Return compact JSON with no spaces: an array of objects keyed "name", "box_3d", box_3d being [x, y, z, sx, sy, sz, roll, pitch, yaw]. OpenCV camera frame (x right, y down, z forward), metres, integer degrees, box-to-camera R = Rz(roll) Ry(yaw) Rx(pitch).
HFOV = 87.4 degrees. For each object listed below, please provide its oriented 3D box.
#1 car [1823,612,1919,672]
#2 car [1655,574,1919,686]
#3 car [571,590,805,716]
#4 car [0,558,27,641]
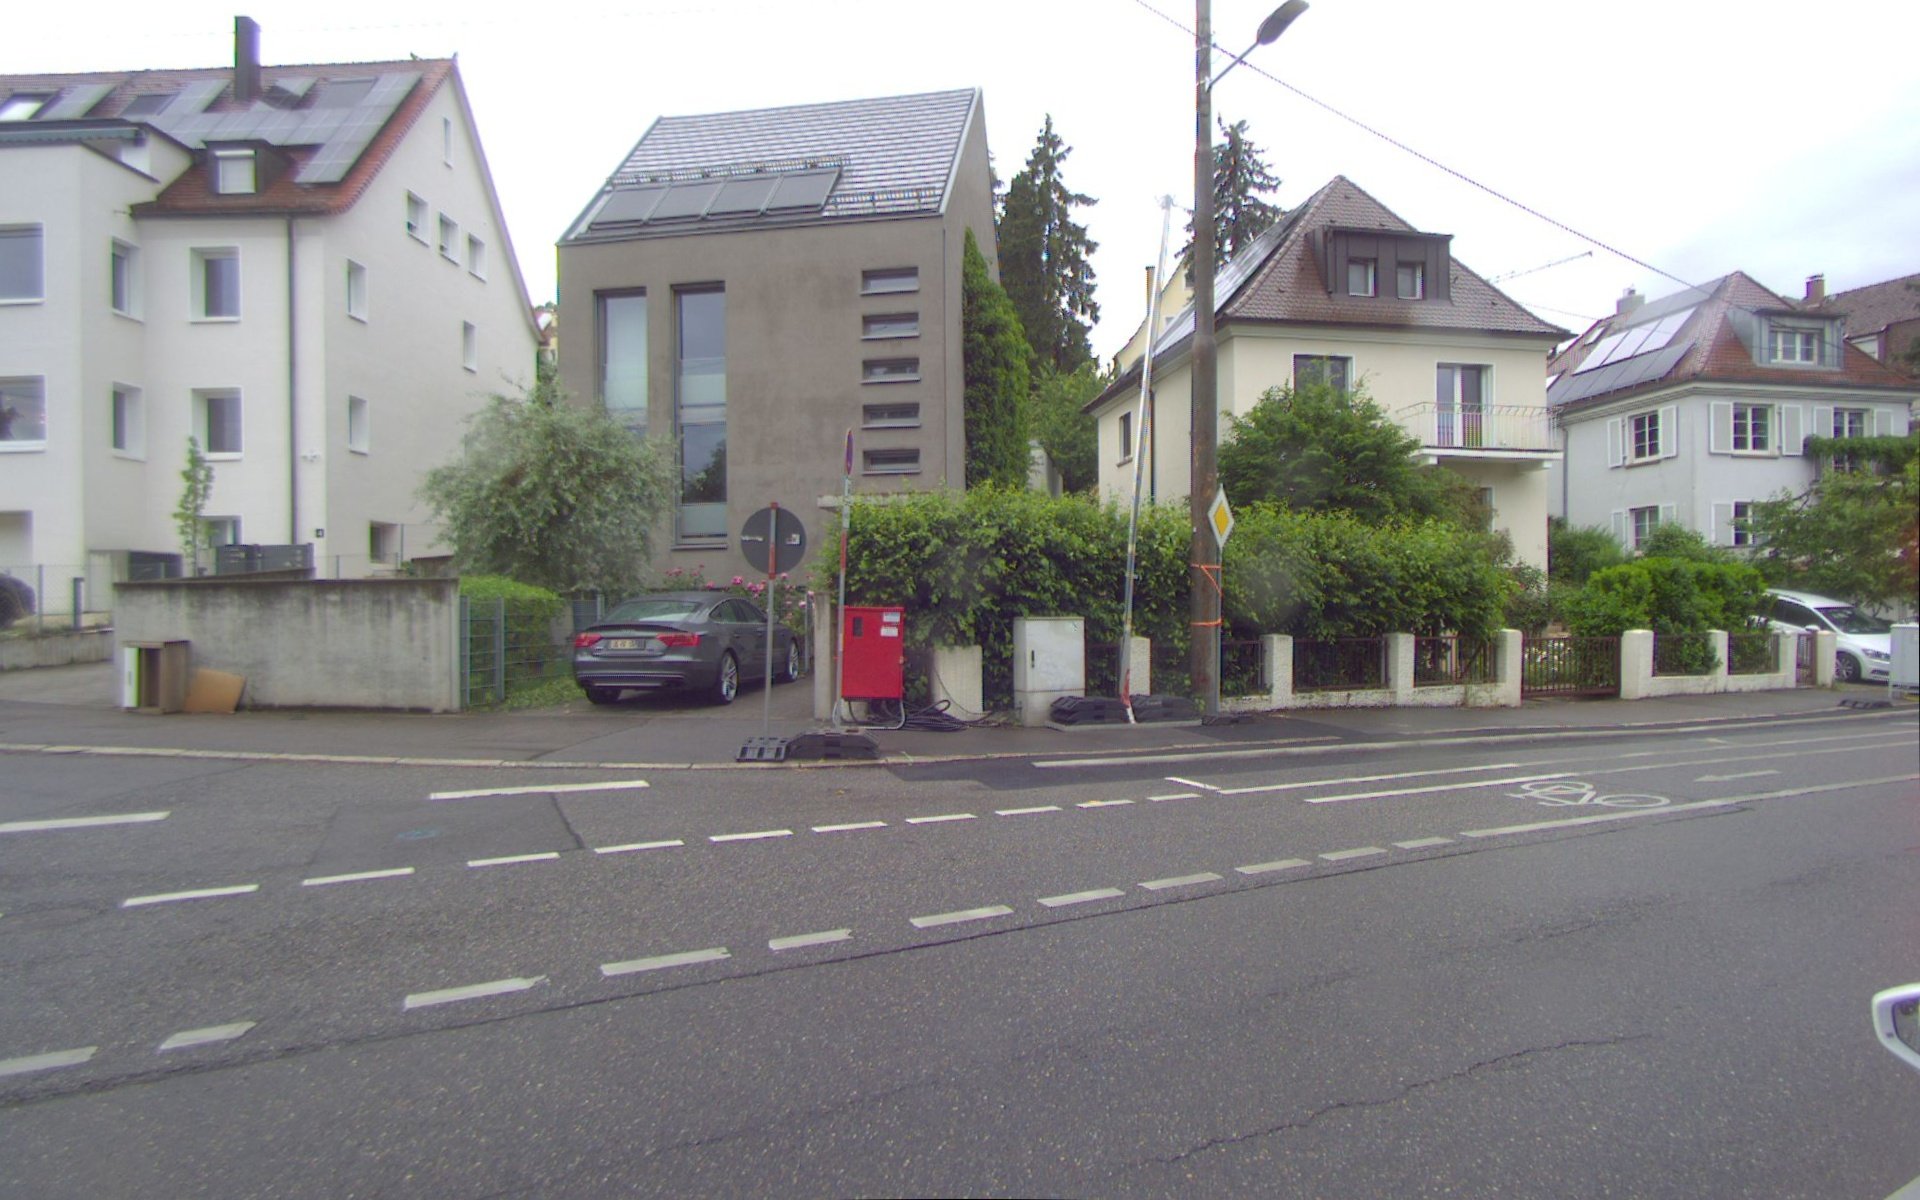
[{"name":"car","box_3d":[26.067,1.141,26.976,1.909,1.546,3.986,2,0,-16]},{"name":"car","box_3d":[19.540,0.578,23.767,1.833,1.639,4.960,0,10,-15]},{"name":"car","box_3d":[-3.475,0.586,13.724,1.581,1.387,4.265,0,1,7]},{"name":"car","box_3d":[-16.785,0.056,15.190,1.536,1.350,3.923,1,3,3]}]
